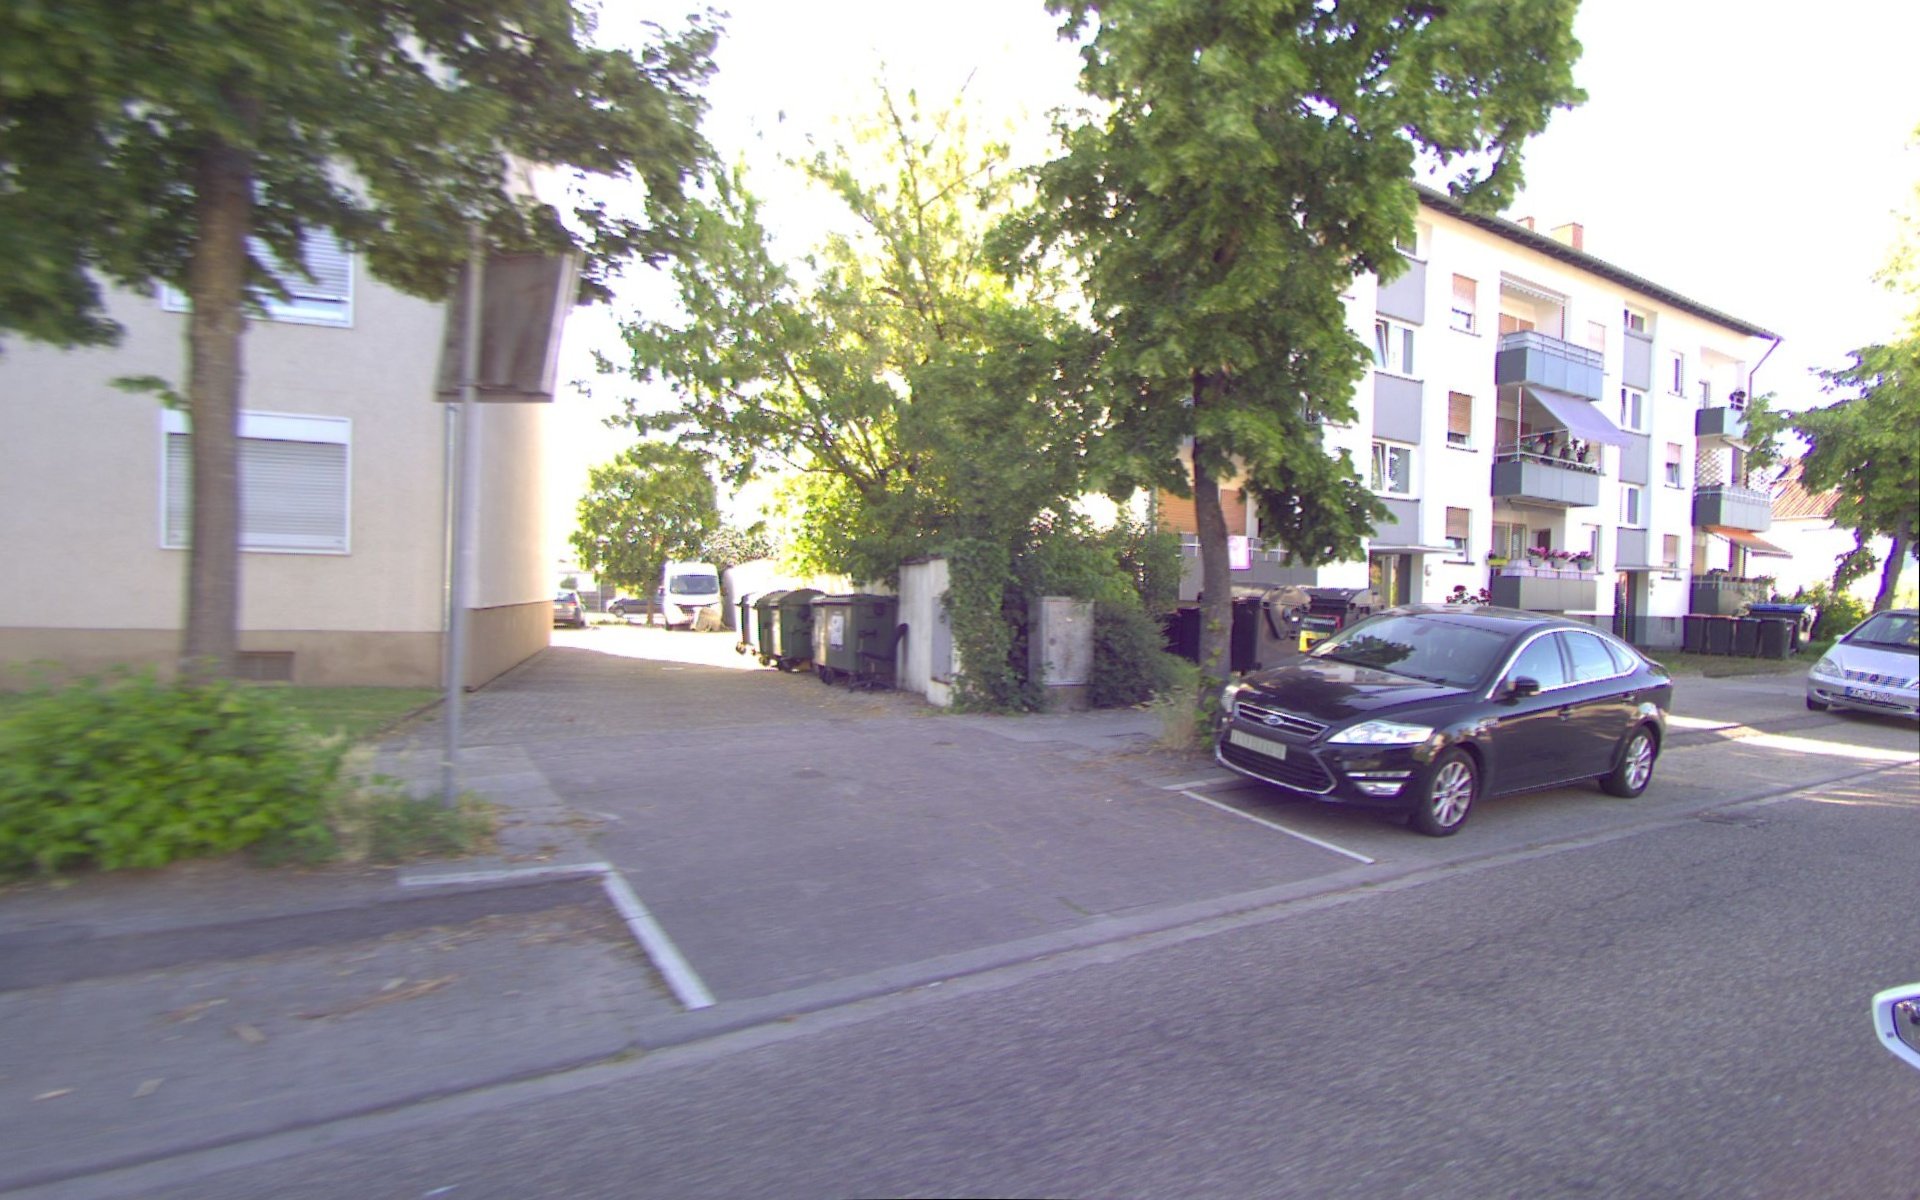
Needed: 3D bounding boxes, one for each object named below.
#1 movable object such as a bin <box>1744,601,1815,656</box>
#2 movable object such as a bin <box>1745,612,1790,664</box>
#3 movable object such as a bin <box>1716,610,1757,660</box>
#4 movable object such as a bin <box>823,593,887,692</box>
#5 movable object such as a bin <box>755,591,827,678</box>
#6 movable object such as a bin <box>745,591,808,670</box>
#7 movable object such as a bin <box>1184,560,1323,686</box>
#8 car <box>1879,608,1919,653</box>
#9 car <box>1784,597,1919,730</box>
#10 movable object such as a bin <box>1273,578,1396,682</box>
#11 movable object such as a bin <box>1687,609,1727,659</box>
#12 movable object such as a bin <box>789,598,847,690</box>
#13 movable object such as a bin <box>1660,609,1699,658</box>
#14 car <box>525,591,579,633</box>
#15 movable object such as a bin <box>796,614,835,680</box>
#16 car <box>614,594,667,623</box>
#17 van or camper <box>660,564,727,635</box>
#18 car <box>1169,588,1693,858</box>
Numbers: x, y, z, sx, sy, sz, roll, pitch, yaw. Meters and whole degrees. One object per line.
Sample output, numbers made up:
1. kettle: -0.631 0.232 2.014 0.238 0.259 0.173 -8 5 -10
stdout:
1. movable object such as a bin: 23.019 0.787 28.234 1.102 1.502 1.225 1 1 -30
2. movable object such as a bin: 20.767 0.968 25.829 0.664 1.296 0.684 1 1 -30
3. movable object such as a bin: 20.429 0.913 26.422 0.664 1.296 0.635 1 1 -30
4. movable object such as a bin: -1.525 0.587 14.467 0.559 1.334 1.086 -3 2 -24
5. movable object such as a bin: -3.003 0.583 17.792 0.942 1.452 1.117 -3 2 -24
6. movable object such as a bin: -3.585 0.565 19.578 0.925 1.452 1.117 -3 2 -24
7. movable object such as a bin: 4.173 0.305 14.360 1.252 1.685 1.406 1 1 -31
8. car: 35.761 1.127 35.742 4.299 1.534 1.615 2 1 8
9. car: 14.220 0.901 14.929 3.863 1.614 1.713 1 6 -31
10. movable object such as a bin: 5.957 0.455 16.006 1.312 1.564 1.284 1 1 -31
11. movable object such as a bin: 20.081 0.914 27.013 0.664 1.296 0.635 1 1 -30
12. movable object such as a bin: -2.208 0.652 15.577 0.559 1.334 1.117 -3 2 -24
13. movable object such as a bin: 19.739 0.914 27.574 0.664 1.296 0.635 1 1 -30
14. car: -15.484 0.434 38.033 1.647 1.519 3.493 1 0 -26
15. movable object such as a bin: -2.394 0.772 16.655 0.478 1.028 0.506 -3 2 -24
16. car: -23.529 0.629 73.928 3.554 2.040 1.674 2 -1 -21
17. van or camper: -10.147 -0.044 37.957 2.088 2.496 4.784 1 0 -19
18. car: 3.961 0.791 8.161 4.497 1.514 1.710 1 6 -35
